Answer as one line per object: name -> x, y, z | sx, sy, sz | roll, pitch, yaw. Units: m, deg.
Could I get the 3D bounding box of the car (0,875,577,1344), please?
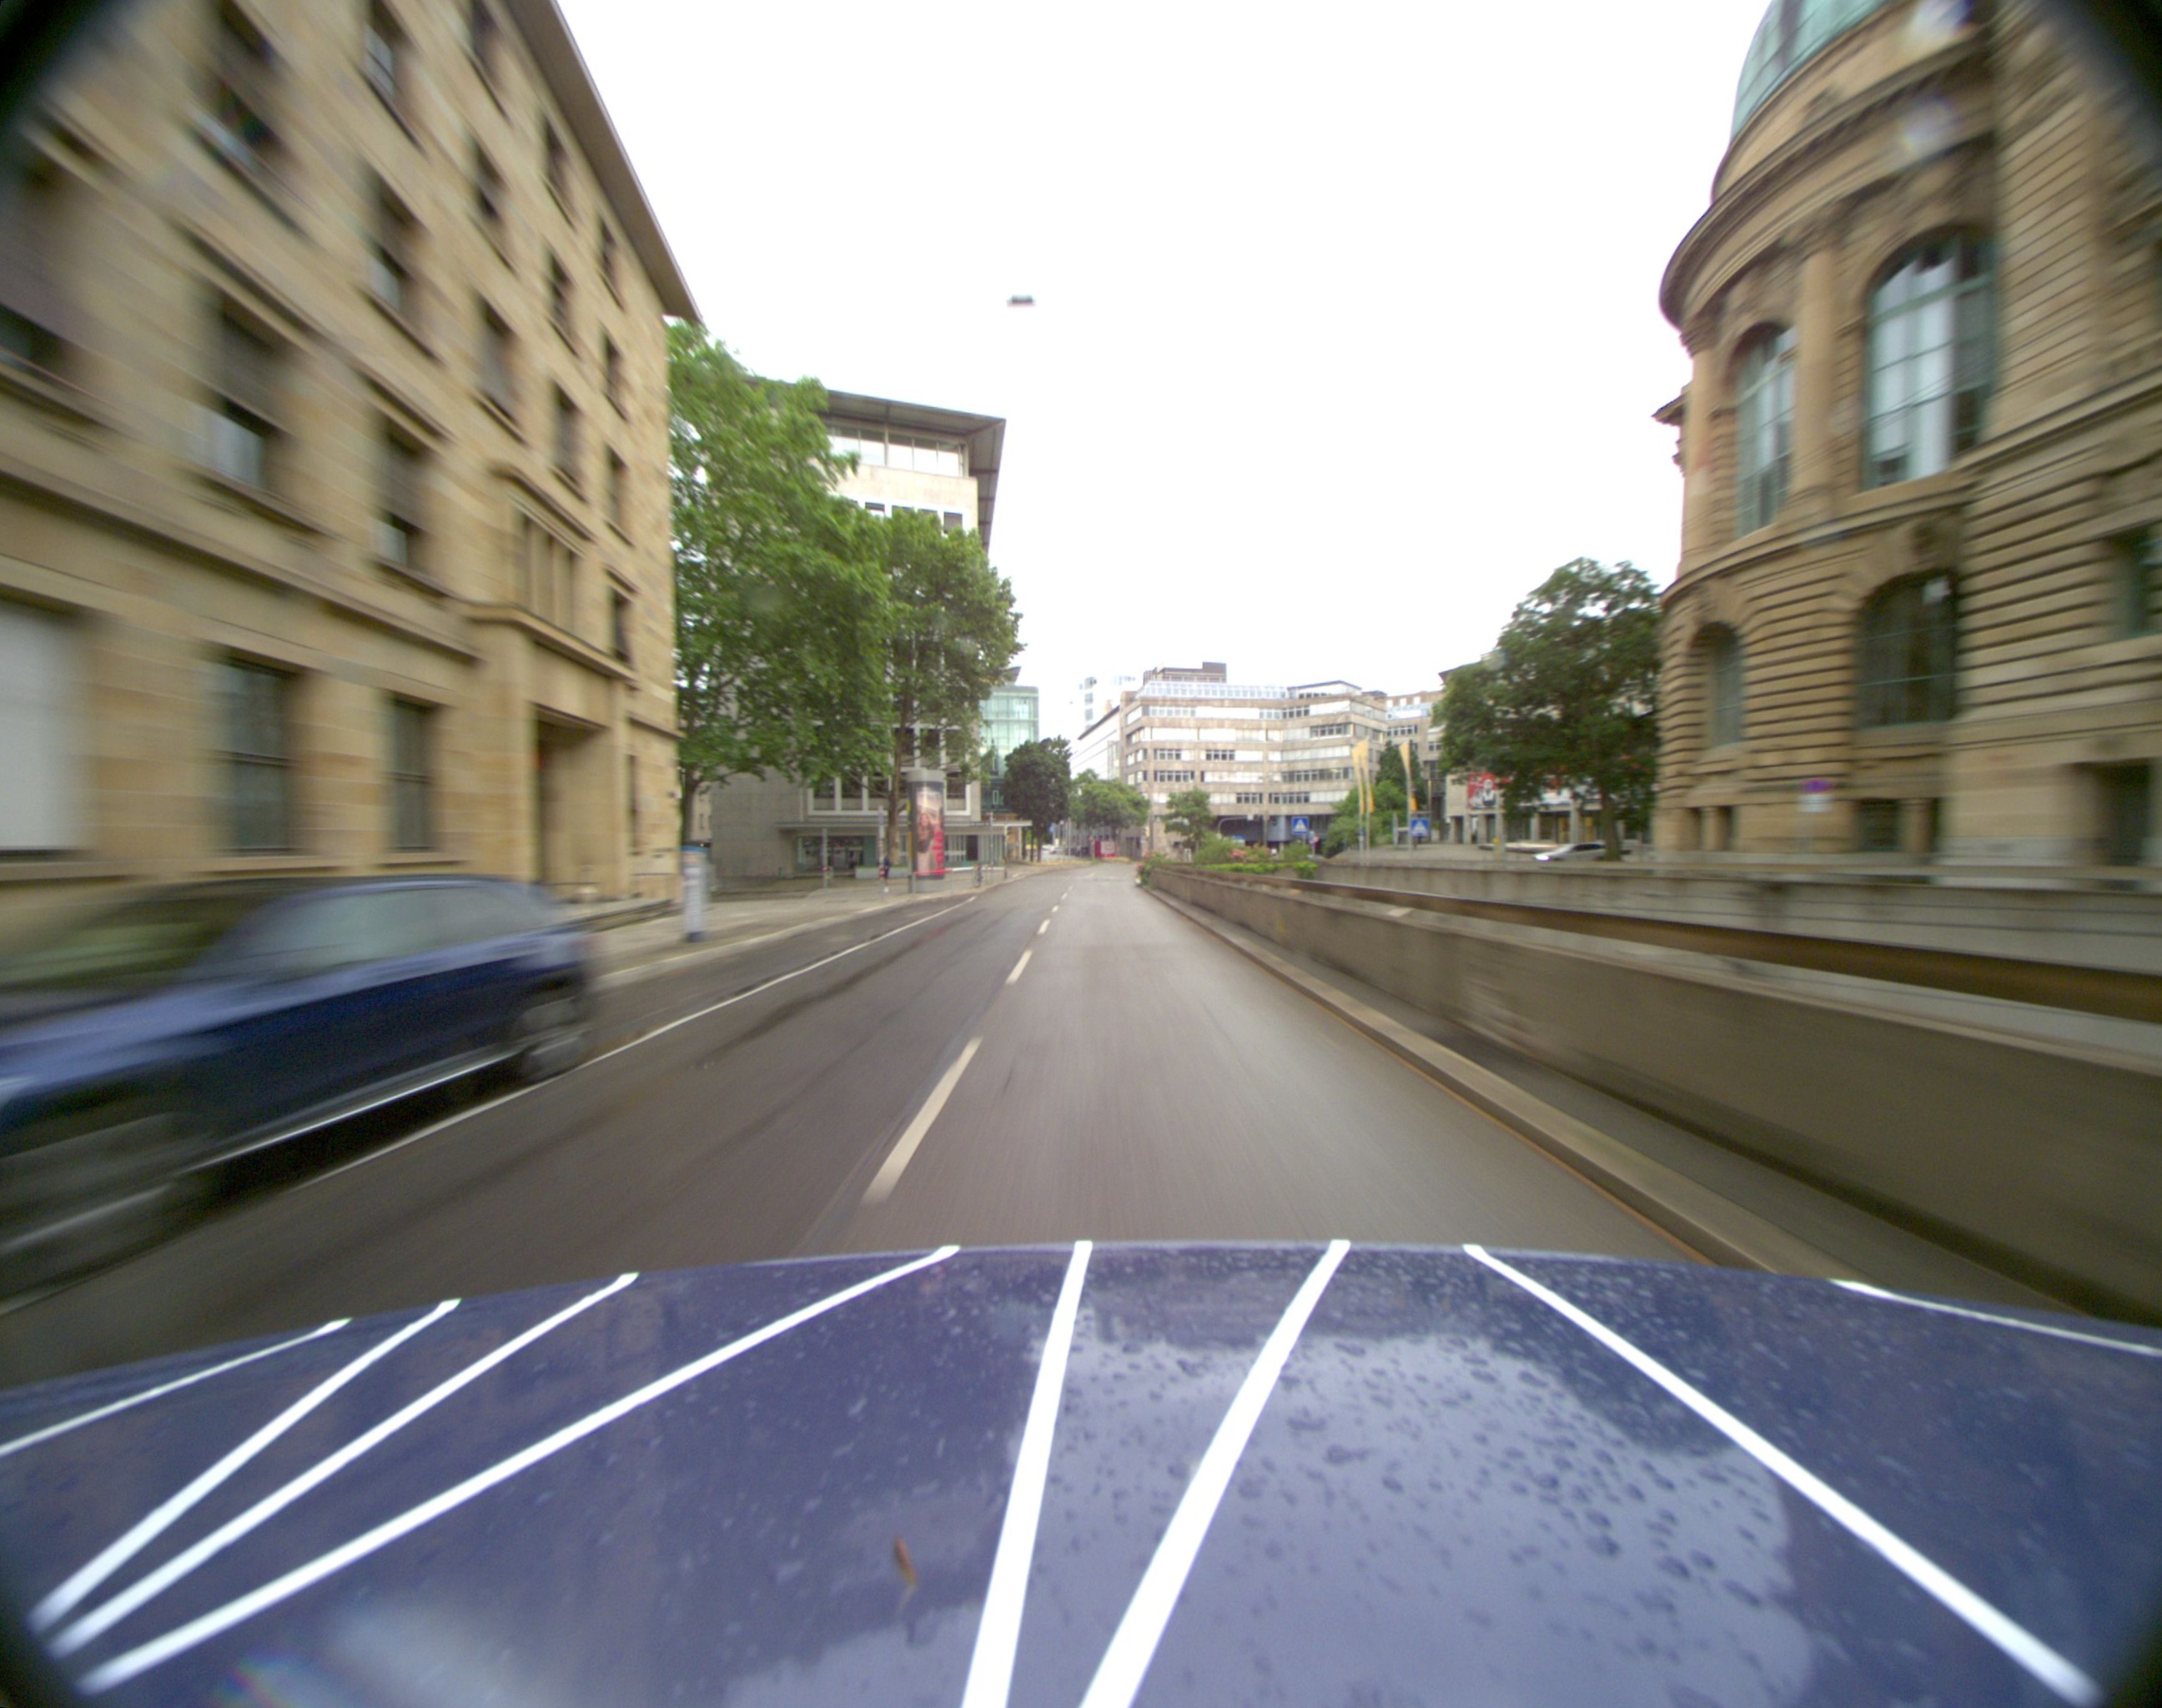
car -> -4.982, 1.031, 4.092 | 1.773, 1.610, 4.156 | -1, 1, -1

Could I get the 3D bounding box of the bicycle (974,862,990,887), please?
bicycle -> -4.285, 0.871, 32.988 | 0.490, 1.006, 1.927 | -1, 1, -2

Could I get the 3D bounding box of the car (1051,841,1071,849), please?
car -> -4.180, -1.864, 161.227 | 3.776, 1.641, 1.796 | 1, 0, -23

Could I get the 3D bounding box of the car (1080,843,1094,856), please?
car -> 0.908, -0.791, 126.540 | 1.999, 2.068, 3.998 | -1, 1, -4

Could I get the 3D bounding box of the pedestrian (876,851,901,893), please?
pedestrian -> -8.114, 0.746, 32.082 | 0.781, 1.761, 0.863 | -1, 1, 1
